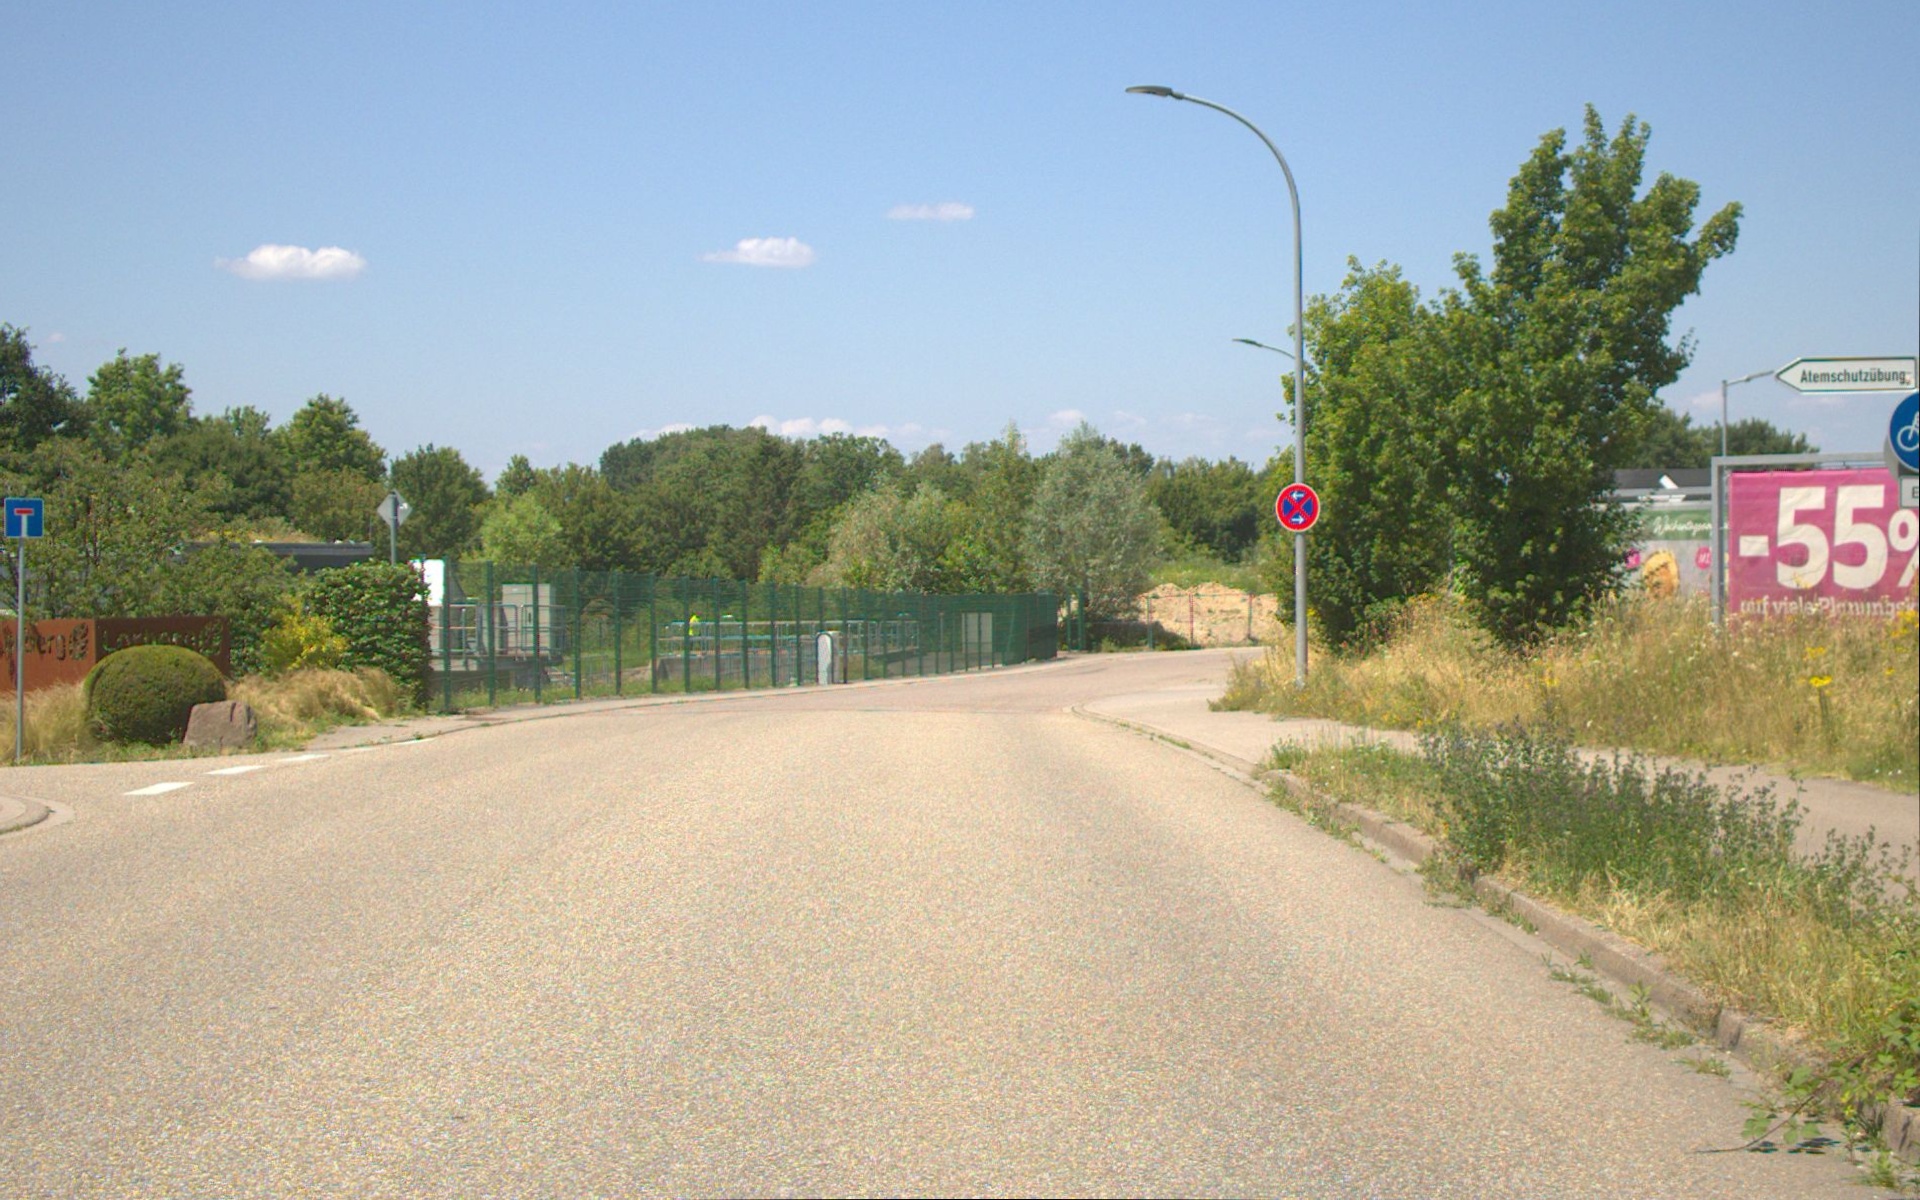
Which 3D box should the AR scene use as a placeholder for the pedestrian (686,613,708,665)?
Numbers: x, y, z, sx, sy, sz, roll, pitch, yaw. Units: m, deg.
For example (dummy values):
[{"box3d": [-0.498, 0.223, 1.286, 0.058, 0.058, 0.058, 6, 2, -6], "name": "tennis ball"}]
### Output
[{"box3d": [-9.432, 1.387, 123.150, 0.606, 1.833, 0.804, -1, -1, 8], "name": "pedestrian"}]
